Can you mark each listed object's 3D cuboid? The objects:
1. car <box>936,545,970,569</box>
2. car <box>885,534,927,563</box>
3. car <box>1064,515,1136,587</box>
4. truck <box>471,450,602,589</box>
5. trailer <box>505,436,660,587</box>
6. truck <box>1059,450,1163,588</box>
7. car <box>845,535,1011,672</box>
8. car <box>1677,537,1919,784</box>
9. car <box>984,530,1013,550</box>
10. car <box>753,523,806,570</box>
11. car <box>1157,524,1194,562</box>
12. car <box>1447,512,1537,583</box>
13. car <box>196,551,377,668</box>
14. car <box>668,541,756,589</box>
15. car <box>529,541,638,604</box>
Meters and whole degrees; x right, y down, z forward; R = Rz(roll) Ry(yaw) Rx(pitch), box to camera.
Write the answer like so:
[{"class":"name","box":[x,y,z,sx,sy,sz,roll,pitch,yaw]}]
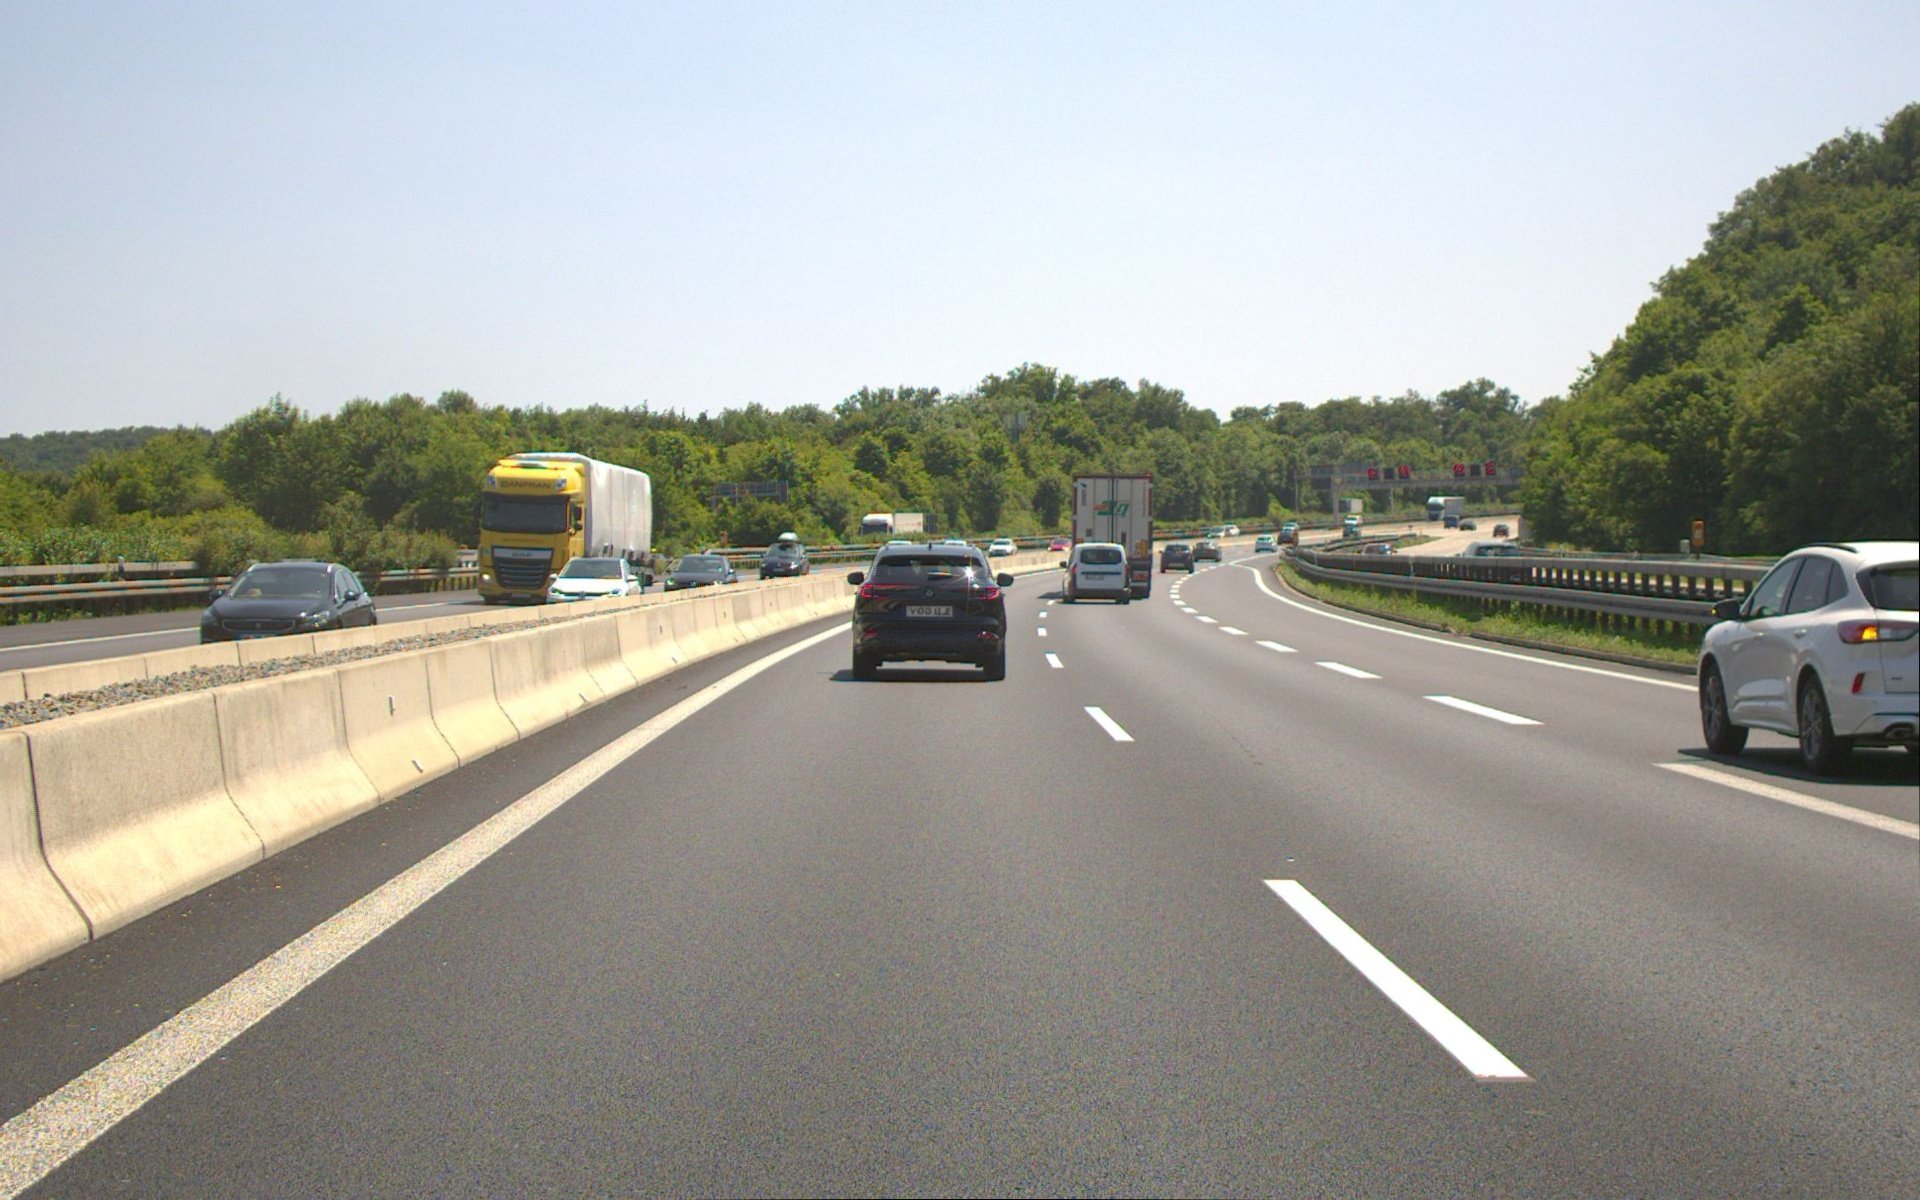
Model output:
[{"class":"car","box":[-0.462,-2.870,229.952,1.994,1.538,5.041,0,1,3]},{"class":"car","box":[-3.124,-3.016,200.274,1.869,1.660,4.663,0,1,7]},{"class":"car","box":[4.162,-1.478,102.095,1.994,2.007,4.000,-3,1,2]},{"class":"truck","box":[-11.693,-2.211,95.322,2.750,3.741,4.865,0,1,3]},{"class":"trailer","box":[-11.303,-2.591,104.191,2.718,4.297,12.823,0,1,3]},{"class":"truck","box":[5.175,-2.654,115.646,3.032,4.403,12.017,0,1,5]},{"class":"car","box":[-0.438,0.022,41.588,1.779,1.572,4.001,0,1,-4]},{"class":"car","box":[6.854,0.387,25.323,1.993,1.656,4.468,0,1,-3]},{"class":"car","box":[2.888,-4.506,257.442,1.851,1.390,4.000,2,1,4]},{"class":"car","box":[-8.052,-2.380,153.789,1.993,2.074,4.704,0,1,1]},{"class":"car","box":[11.757,-3.096,187.439,1.994,2.007,4.000,0,1,4]},{"class":"car","box":[15.784,-1.576,102.131,1.993,2.007,4.000,-2,1,0]},{"class":"car","box":[-9.269,0.100,47.619,1.728,1.531,4.614,0,1,-2]},{"class":"car","box":[-7.075,-1.000,98.400,1.994,1.345,4.258,0,1,3]},{"class":"car","box":[-8.534,-0.643,78.298,1.993,1.369,4.663,0,1,0]}]
